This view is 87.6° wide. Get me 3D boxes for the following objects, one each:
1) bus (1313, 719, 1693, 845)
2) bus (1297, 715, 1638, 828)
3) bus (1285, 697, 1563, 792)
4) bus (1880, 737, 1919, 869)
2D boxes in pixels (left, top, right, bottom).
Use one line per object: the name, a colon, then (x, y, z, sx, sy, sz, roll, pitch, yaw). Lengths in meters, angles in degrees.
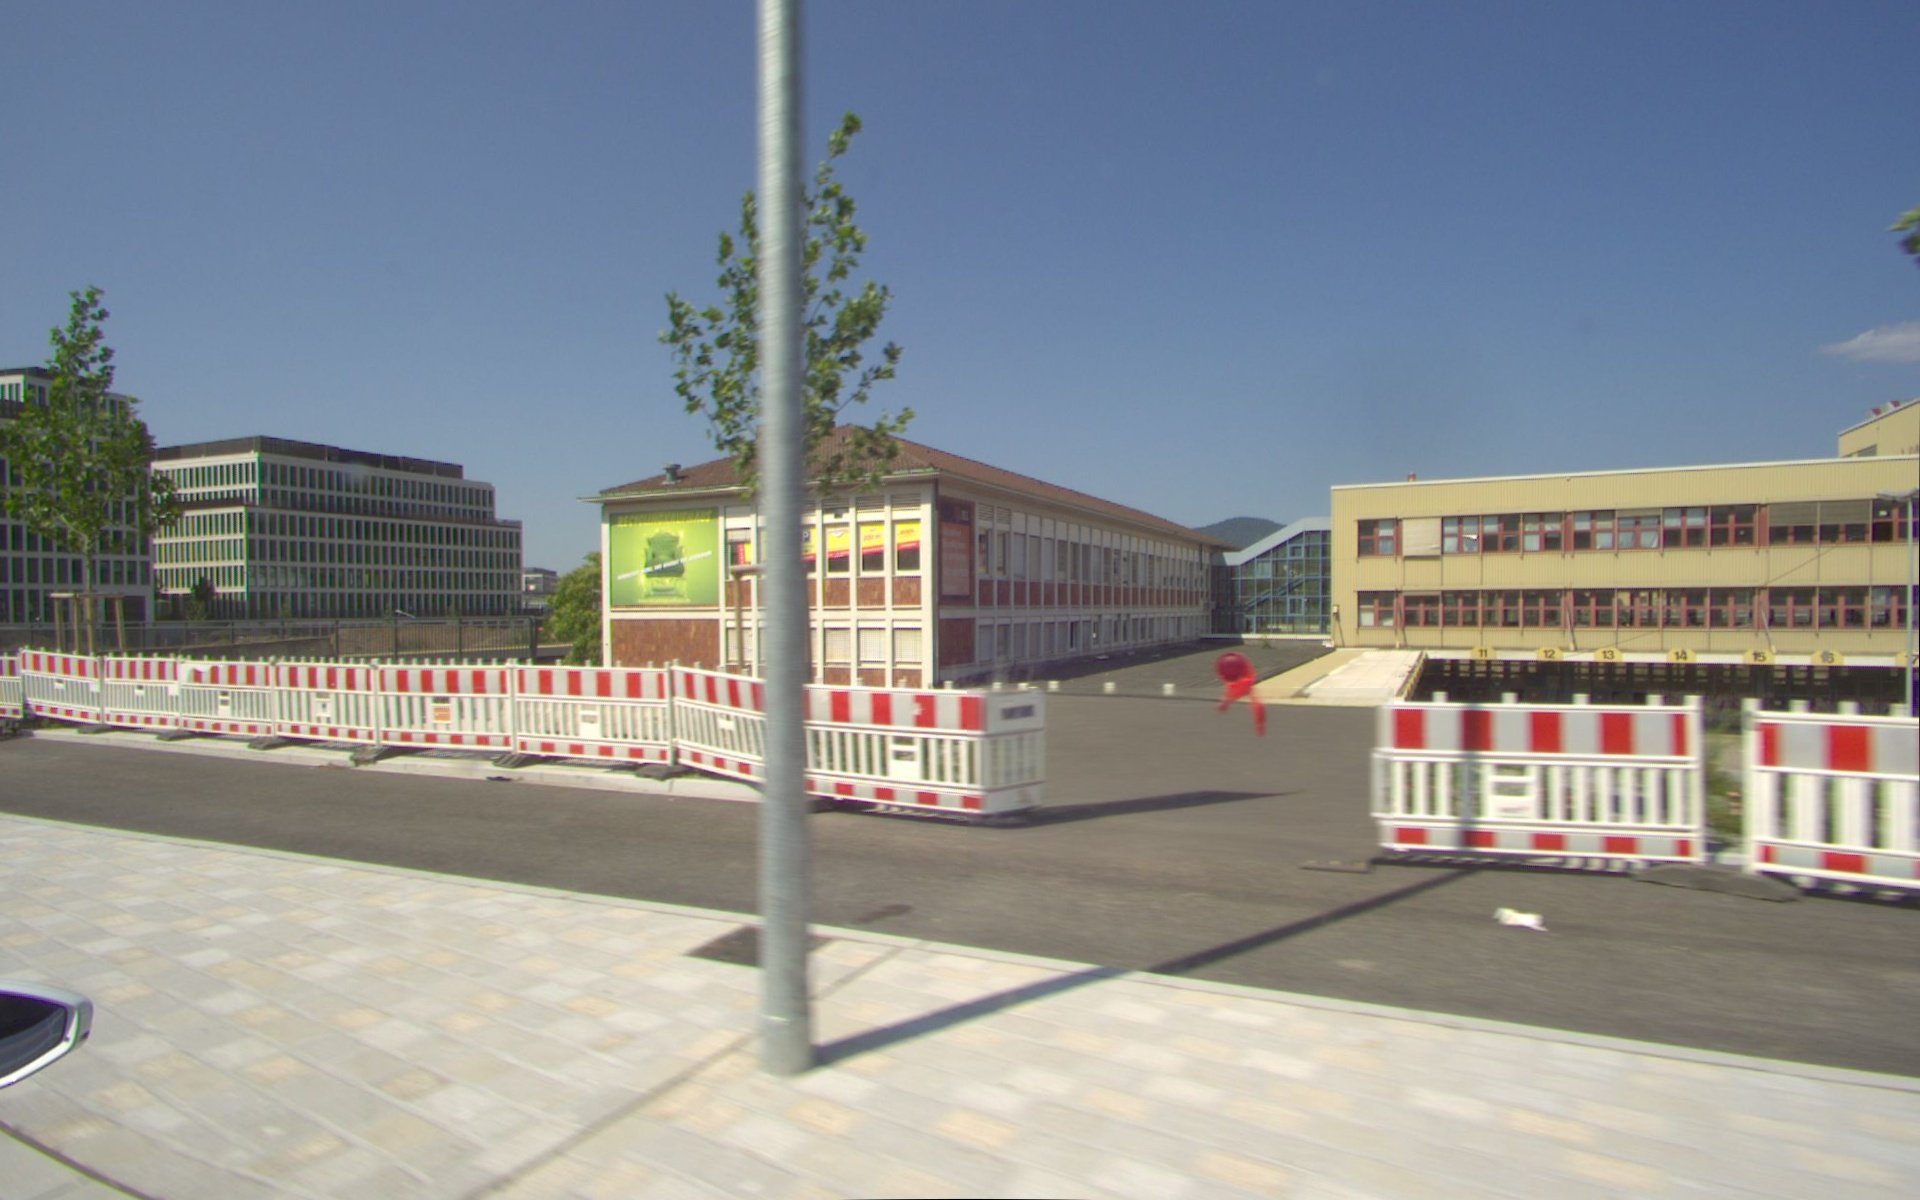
bus: (19.678, 6.524, 36.510, 12.890, 3.812, 2.665, -1, -1, -6)
bus: (20.458, 6.842, 40.577, 12.890, 3.812, 2.665, -1, -1, -6)
bus: (22.283, 6.832, 48.133, 12.896, 3.812, 2.664, -1, -1, -10)
bus: (37.605, 6.534, 35.287, 16.880, 3.812, 2.652, 0, -1, -30)
